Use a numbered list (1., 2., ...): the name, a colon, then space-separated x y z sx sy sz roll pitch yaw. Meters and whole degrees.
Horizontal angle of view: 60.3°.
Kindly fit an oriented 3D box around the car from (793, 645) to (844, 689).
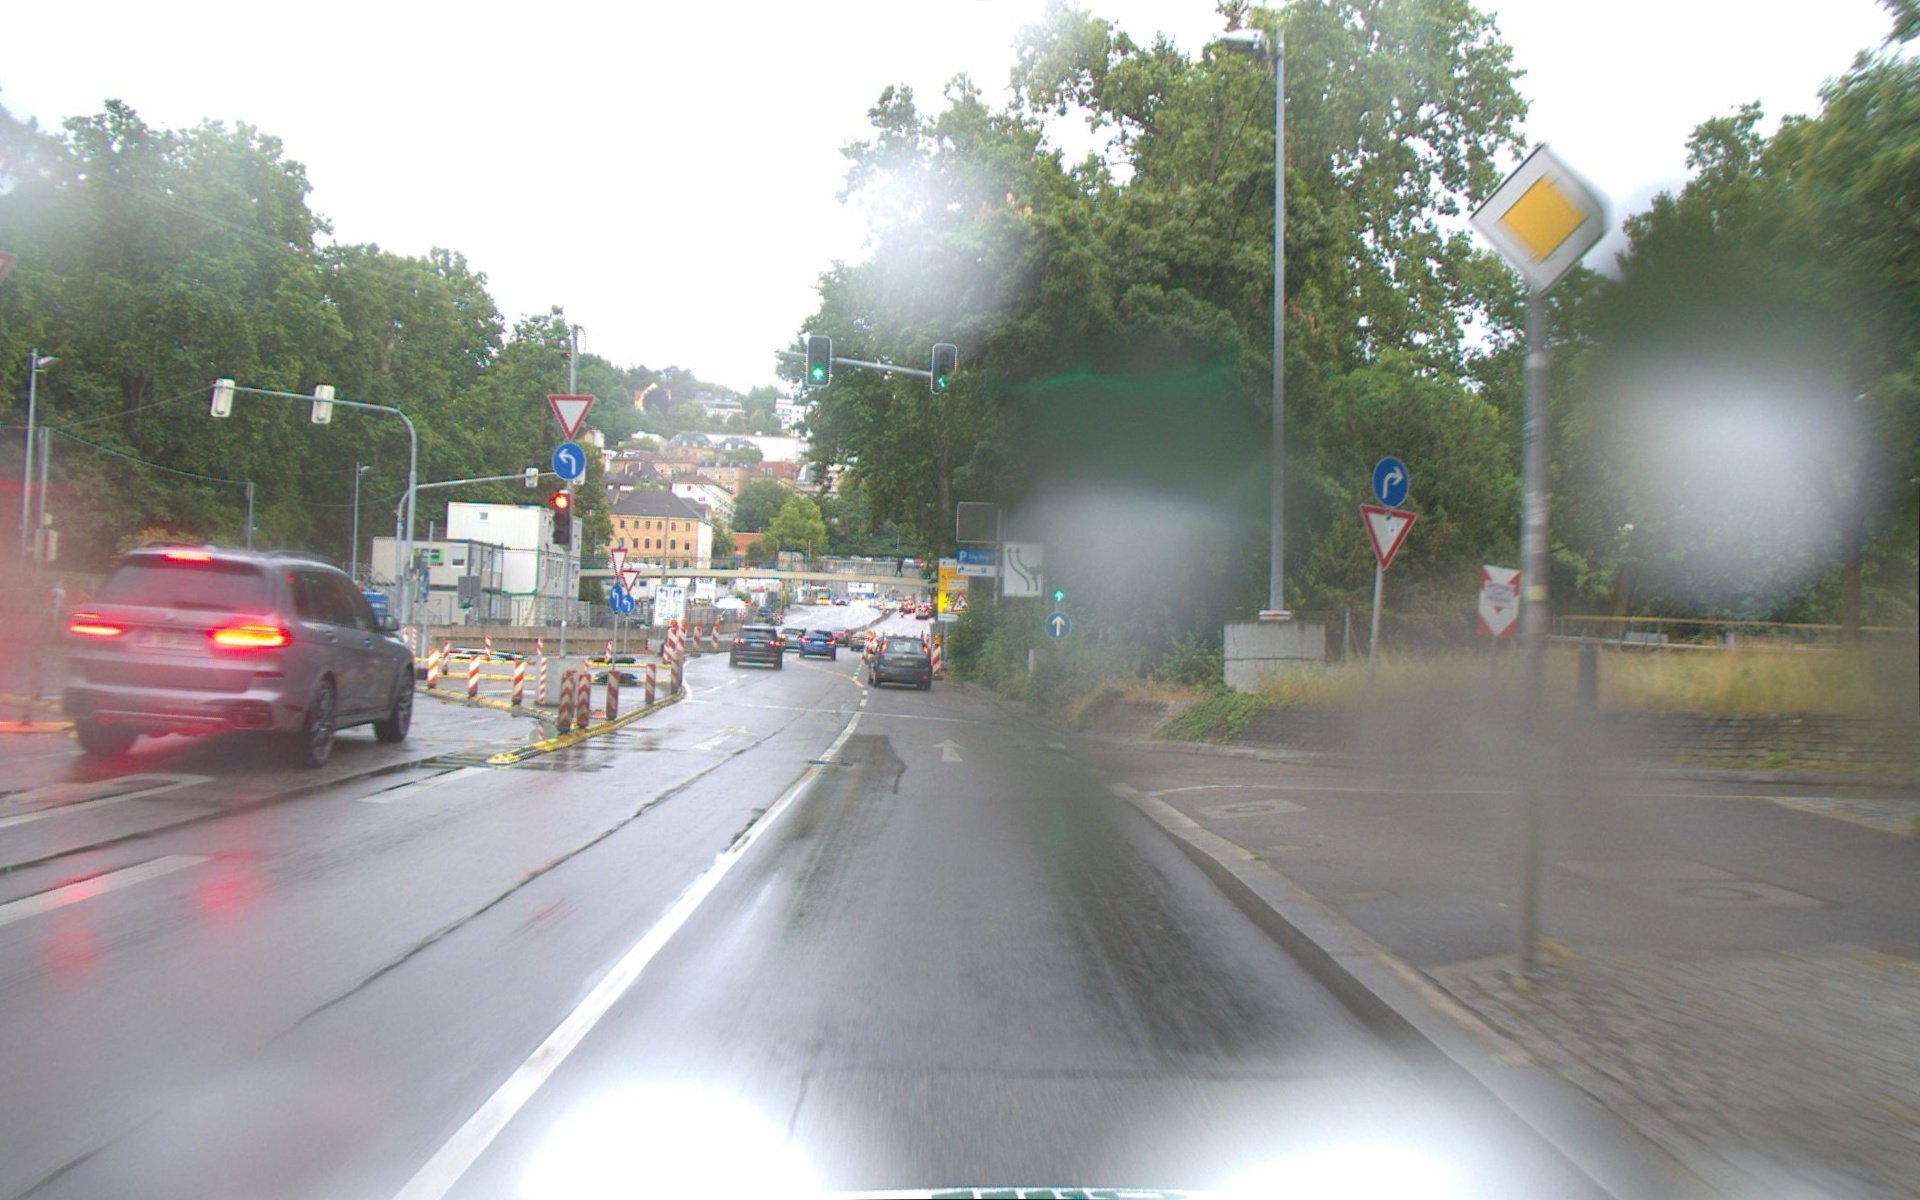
1. car: -6.965 3.339 81.795 2.061 2.087 3.999 2 -3 0

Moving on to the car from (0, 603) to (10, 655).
1. car: -33.884 0.870 55.042 1.808 1.793 4.794 2 -3 -2

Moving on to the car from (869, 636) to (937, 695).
1. car: -1.677 1.880 47.387 1.776 1.554 3.996 2 -3 -4

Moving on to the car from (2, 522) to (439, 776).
1. car: -6.666 0.509 15.708 2.167 1.895 5.066 4 -3 -6

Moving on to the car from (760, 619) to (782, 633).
1. car: -23.858 3.274 208.993 1.952 1.650 4.002 2 0 4

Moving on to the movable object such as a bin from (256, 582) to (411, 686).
1. movable object such as a bin: -31.738 1.869 84.365 4.654 4.888 8.355 2 -3 -1

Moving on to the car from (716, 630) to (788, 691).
1. car: -7.468 2.179 59.066 1.983 2.049 3.983 3 -3 -15

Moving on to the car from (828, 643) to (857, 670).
1. car: -9.310 4.510 131.261 2.010 2.049 3.998 2 -3 -1

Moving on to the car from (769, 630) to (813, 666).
1. car: -9.996 2.820 97.996 1.952 2.049 4.001 2 -1 3
